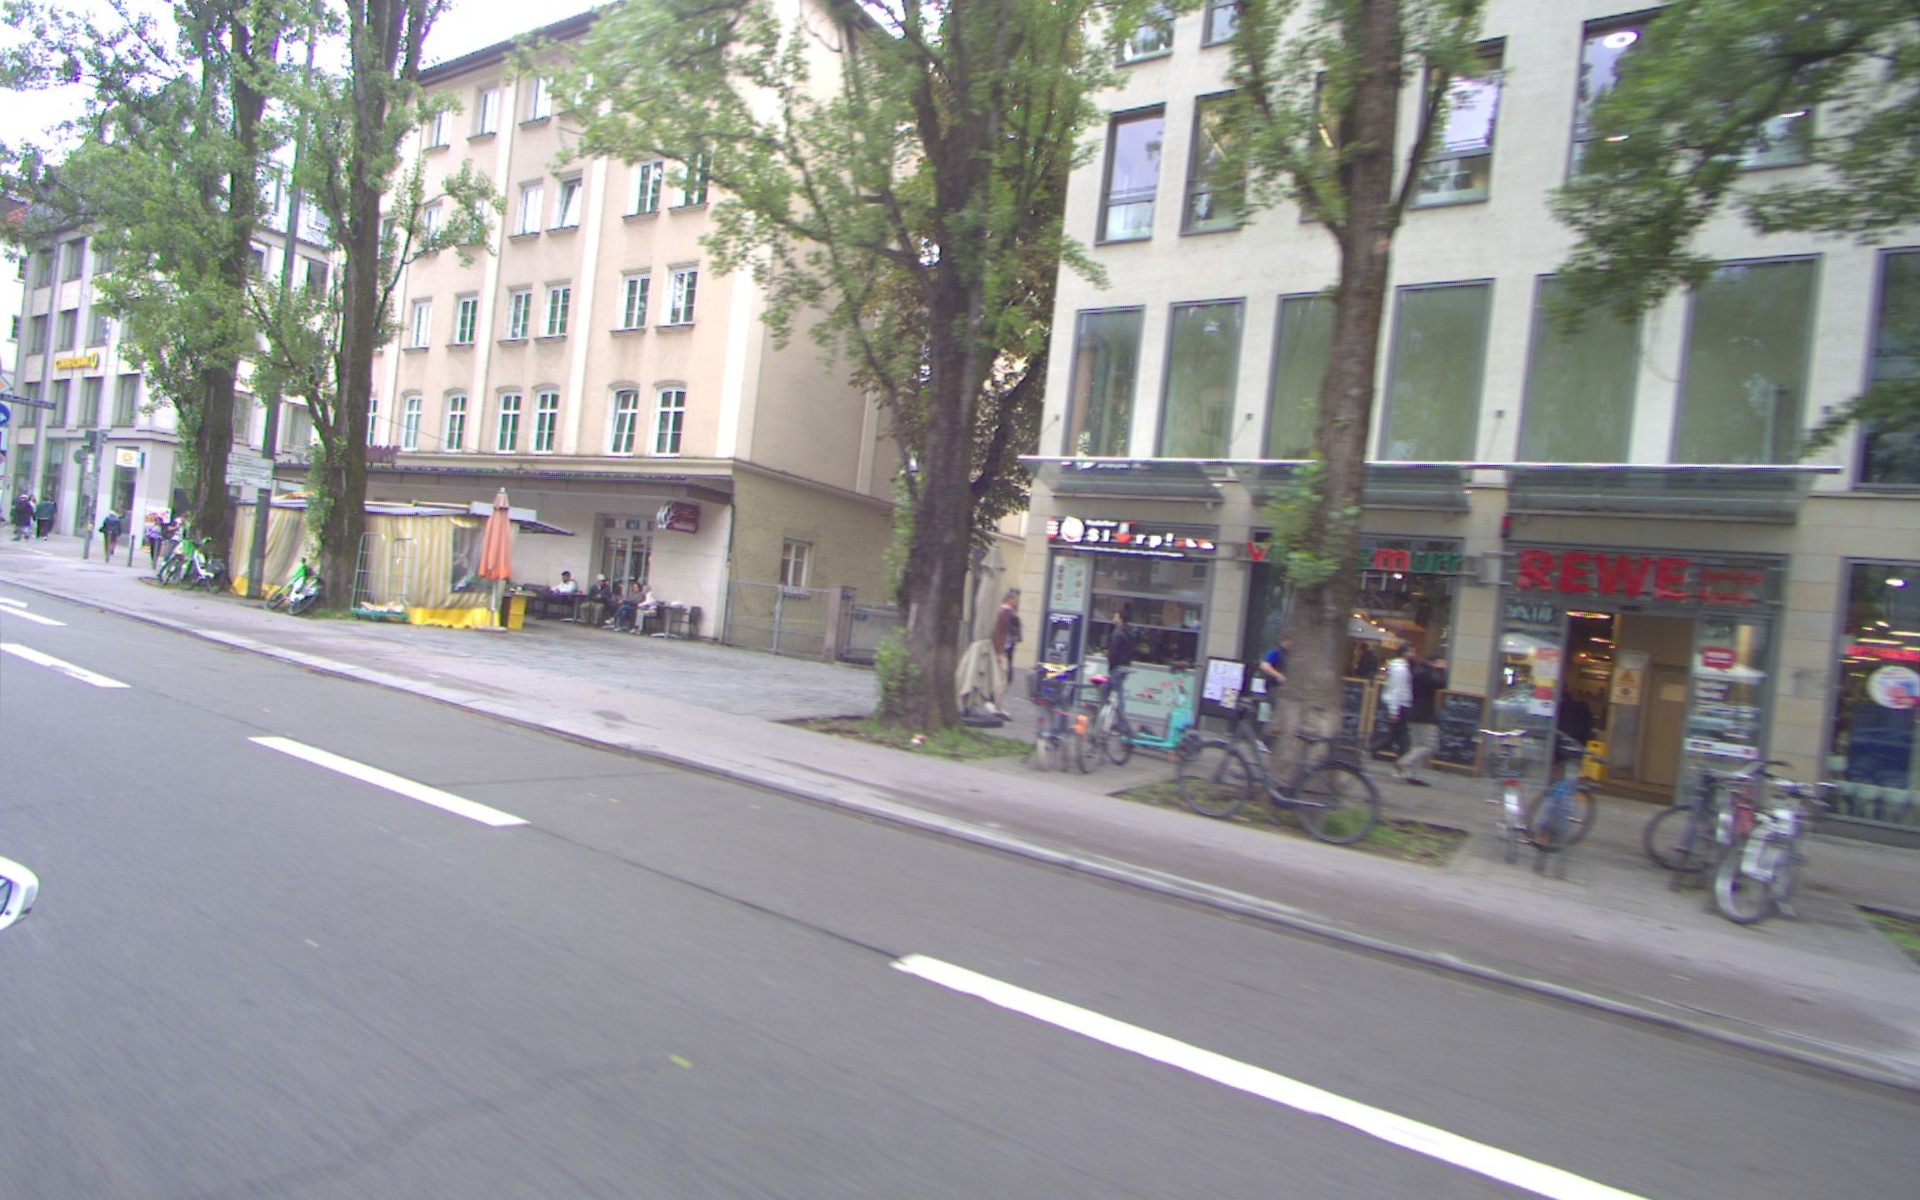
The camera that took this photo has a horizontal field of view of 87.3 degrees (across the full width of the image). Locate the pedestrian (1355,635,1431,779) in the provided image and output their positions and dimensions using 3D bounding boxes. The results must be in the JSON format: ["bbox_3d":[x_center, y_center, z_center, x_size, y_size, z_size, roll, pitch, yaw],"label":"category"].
[{"bbox_3d":[5.919,1.444,13.740,0.680,1.842,0.622,7,1,31],"label":"pedestrian"}]

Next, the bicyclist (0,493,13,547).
[{"bbox_3d":[-29.517,-2.471,30.753,0.473,1.608,0.622,7,1,32],"label":"bicyclist"}]

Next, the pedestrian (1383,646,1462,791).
[{"bbox_3d":[5.941,1.497,12.928,0.680,1.731,0.657,7,1,31],"label":"pedestrian"}]

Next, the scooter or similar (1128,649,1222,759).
[{"bbox_3d":[2.818,1.351,13.191,1.019,1.289,0.330,7,0,33],"label":"scooter or similar"}]

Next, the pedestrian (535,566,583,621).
[{"bbox_3d":[-10.296,-0.161,25.816,0.688,1.280,0.776,7,0,33],"label":"pedestrian"}]

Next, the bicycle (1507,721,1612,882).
[{"bbox_3d":[5.138,1.675,8.700,0.389,1.120,1.666,7,0,21],"label":"bicycle"}]

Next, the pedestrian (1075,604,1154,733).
[{"bbox_3d":[2.391,1.037,15.508,0.962,1.837,0.813,7,0,11],"label":"pedestrian"}]

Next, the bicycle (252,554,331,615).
[{"bbox_3d":[-12.911,-0.314,19.411,1.740,0.987,0.509,7,0,31],"label":"bicycle"}]

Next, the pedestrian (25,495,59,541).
[{"bbox_3d":[-38.257,-3.413,41.936,0.845,1.779,0.750,5,-1,34],"label":"pedestrian"}]

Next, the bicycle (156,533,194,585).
[{"bbox_3d":[-17.913,-0.945,22.955,0.404,1.081,1.791,13,-5,-41],"label":"bicycle"}]

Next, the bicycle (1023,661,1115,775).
[{"bbox_3d":[1.226,1.238,10.934,0.281,1.096,2.004,7,-1,24],"label":"bicycle"}]

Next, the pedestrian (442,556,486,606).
[{"bbox_3d":[-14.041,-0.537,28.474,0.688,1.280,0.776,7,0,33],"label":"pedestrian"}]

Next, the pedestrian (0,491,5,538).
[{"bbox_3d":[-38.350,-3.443,39.563,0.876,1.840,0.819,7,0,31],"label":"pedestrian"}]

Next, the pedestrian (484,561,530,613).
[{"bbox_3d":[-12.259,-0.358,27.244,0.688,1.280,0.776,7,0,33],"label":"pedestrian"}]

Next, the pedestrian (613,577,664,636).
[{"bbox_3d":[-7.599,0.168,23.796,0.688,1.280,0.776,7,0,33],"label":"pedestrian"}]

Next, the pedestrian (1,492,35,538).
[{"bbox_3d":[-38.681,-3.493,41.308,0.845,1.779,0.750,5,-1,34],"label":"pedestrian"}]

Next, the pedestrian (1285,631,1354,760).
[{"bbox_3d":[5.355,1.410,14.981,0.663,1.807,0.565,7,1,34],"label":"pedestrian"}]

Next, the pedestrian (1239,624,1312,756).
[{"bbox_3d":[4.597,1.304,14.649,0.663,1.807,0.657,7,1,34],"label":"pedestrian"}]

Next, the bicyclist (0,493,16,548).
[{"bbox_3d":[-29.253,-2.444,30.594,0.385,1.608,0.622,7,1,32],"label":"bicyclist"}]

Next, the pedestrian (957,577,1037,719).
[{"bbox_3d":[0.550,0.709,14.920,0.711,1.996,0.656,7,1,35],"label":"pedestrian"}]

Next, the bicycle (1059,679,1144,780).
[{"bbox_3d":[1.579,1.359,10.960,0.281,0.956,2.004,7,-1,24],"label":"bicycle"}]

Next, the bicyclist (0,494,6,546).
[{"bbox_3d":[-30.150,-2.537,31.151,0.740,1.608,0.622,7,1,32],"label":"bicyclist"}]

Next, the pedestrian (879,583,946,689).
[{"bbox_3d":[-0.872,0.669,18.486,0.744,1.836,0.743,7,0,36],"label":"pedestrian"}]

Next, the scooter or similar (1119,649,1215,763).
[{"bbox_3d":[2.603,1.319,12.686,1.019,1.289,0.247,7,0,33],"label":"scooter or similar"}]

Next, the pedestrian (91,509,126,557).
[{"bbox_3d":[-30.882,-2.437,36.497,0.722,1.657,0.750,5,1,35],"label":"pedestrian"}]

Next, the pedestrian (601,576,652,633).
[{"bbox_3d":[-8.078,0.112,24.376,0.688,1.280,0.776,7,0,33],"label":"pedestrian"}]

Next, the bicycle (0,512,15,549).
[{"bbox_3d":[-30.064,-2.222,31.083,2.226,1.100,0.627,6,0,32],"label":"bicycle"}]

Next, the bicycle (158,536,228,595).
[{"bbox_3d":[-16.360,-0.744,21.456,1.740,1.061,0.509,7,0,31],"label":"bicycle"}]

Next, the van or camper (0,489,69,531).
[{"bbox_3d":[-53.465,-5.207,56.958,1.869,1.888,4.107,6,-2,36],"label":"van or camper"}]

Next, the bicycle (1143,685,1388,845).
[{"bbox_3d":[2.730,1.443,9.069,1.968,1.074,0.434,7,1,23],"label":"bicycle"}]

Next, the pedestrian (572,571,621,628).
[{"bbox_3d":[-8.952,-0.011,24.785,0.688,1.280,0.776,7,0,33],"label":"pedestrian"}]

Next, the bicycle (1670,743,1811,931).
[{"bbox_3d":[6.143,1.796,7.996,0.334,1.149,1.870,7,0,24],"label":"bicycle"}]

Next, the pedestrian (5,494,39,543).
[{"bbox_3d":[-36.622,-3.196,39.281,0.740,1.779,0.709,7,0,34],"label":"pedestrian"}]

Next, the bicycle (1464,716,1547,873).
[{"bbox_3d":[4.775,1.653,8.877,0.281,1.131,1.678,7,0,20],"label":"bicycle"}]

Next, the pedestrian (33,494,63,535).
[{"bbox_3d":[-42.405,-3.970,46.790,0.699,1.779,0.750,7,0,34],"label":"pedestrian"}]

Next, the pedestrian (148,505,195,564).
[{"bbox_3d":[-24.801,-2.057,31.653,0.846,1.723,0.665,5,-1,-11],"label":"pedestrian"}]

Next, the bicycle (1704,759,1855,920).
[{"bbox_3d":[6.878,1.951,8.533,0.386,0.999,2.004,7,-1,24],"label":"bicycle"}]

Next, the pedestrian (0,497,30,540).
[{"bbox_3d":[-40.509,-3.498,43.061,0.947,1.698,0.750,7,1,34],"label":"pedestrian"}]

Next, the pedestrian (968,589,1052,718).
[{"bbox_3d":[0.779,0.824,15.612,0.891,1.874,0.656,7,1,34],"label":"pedestrian"}]
